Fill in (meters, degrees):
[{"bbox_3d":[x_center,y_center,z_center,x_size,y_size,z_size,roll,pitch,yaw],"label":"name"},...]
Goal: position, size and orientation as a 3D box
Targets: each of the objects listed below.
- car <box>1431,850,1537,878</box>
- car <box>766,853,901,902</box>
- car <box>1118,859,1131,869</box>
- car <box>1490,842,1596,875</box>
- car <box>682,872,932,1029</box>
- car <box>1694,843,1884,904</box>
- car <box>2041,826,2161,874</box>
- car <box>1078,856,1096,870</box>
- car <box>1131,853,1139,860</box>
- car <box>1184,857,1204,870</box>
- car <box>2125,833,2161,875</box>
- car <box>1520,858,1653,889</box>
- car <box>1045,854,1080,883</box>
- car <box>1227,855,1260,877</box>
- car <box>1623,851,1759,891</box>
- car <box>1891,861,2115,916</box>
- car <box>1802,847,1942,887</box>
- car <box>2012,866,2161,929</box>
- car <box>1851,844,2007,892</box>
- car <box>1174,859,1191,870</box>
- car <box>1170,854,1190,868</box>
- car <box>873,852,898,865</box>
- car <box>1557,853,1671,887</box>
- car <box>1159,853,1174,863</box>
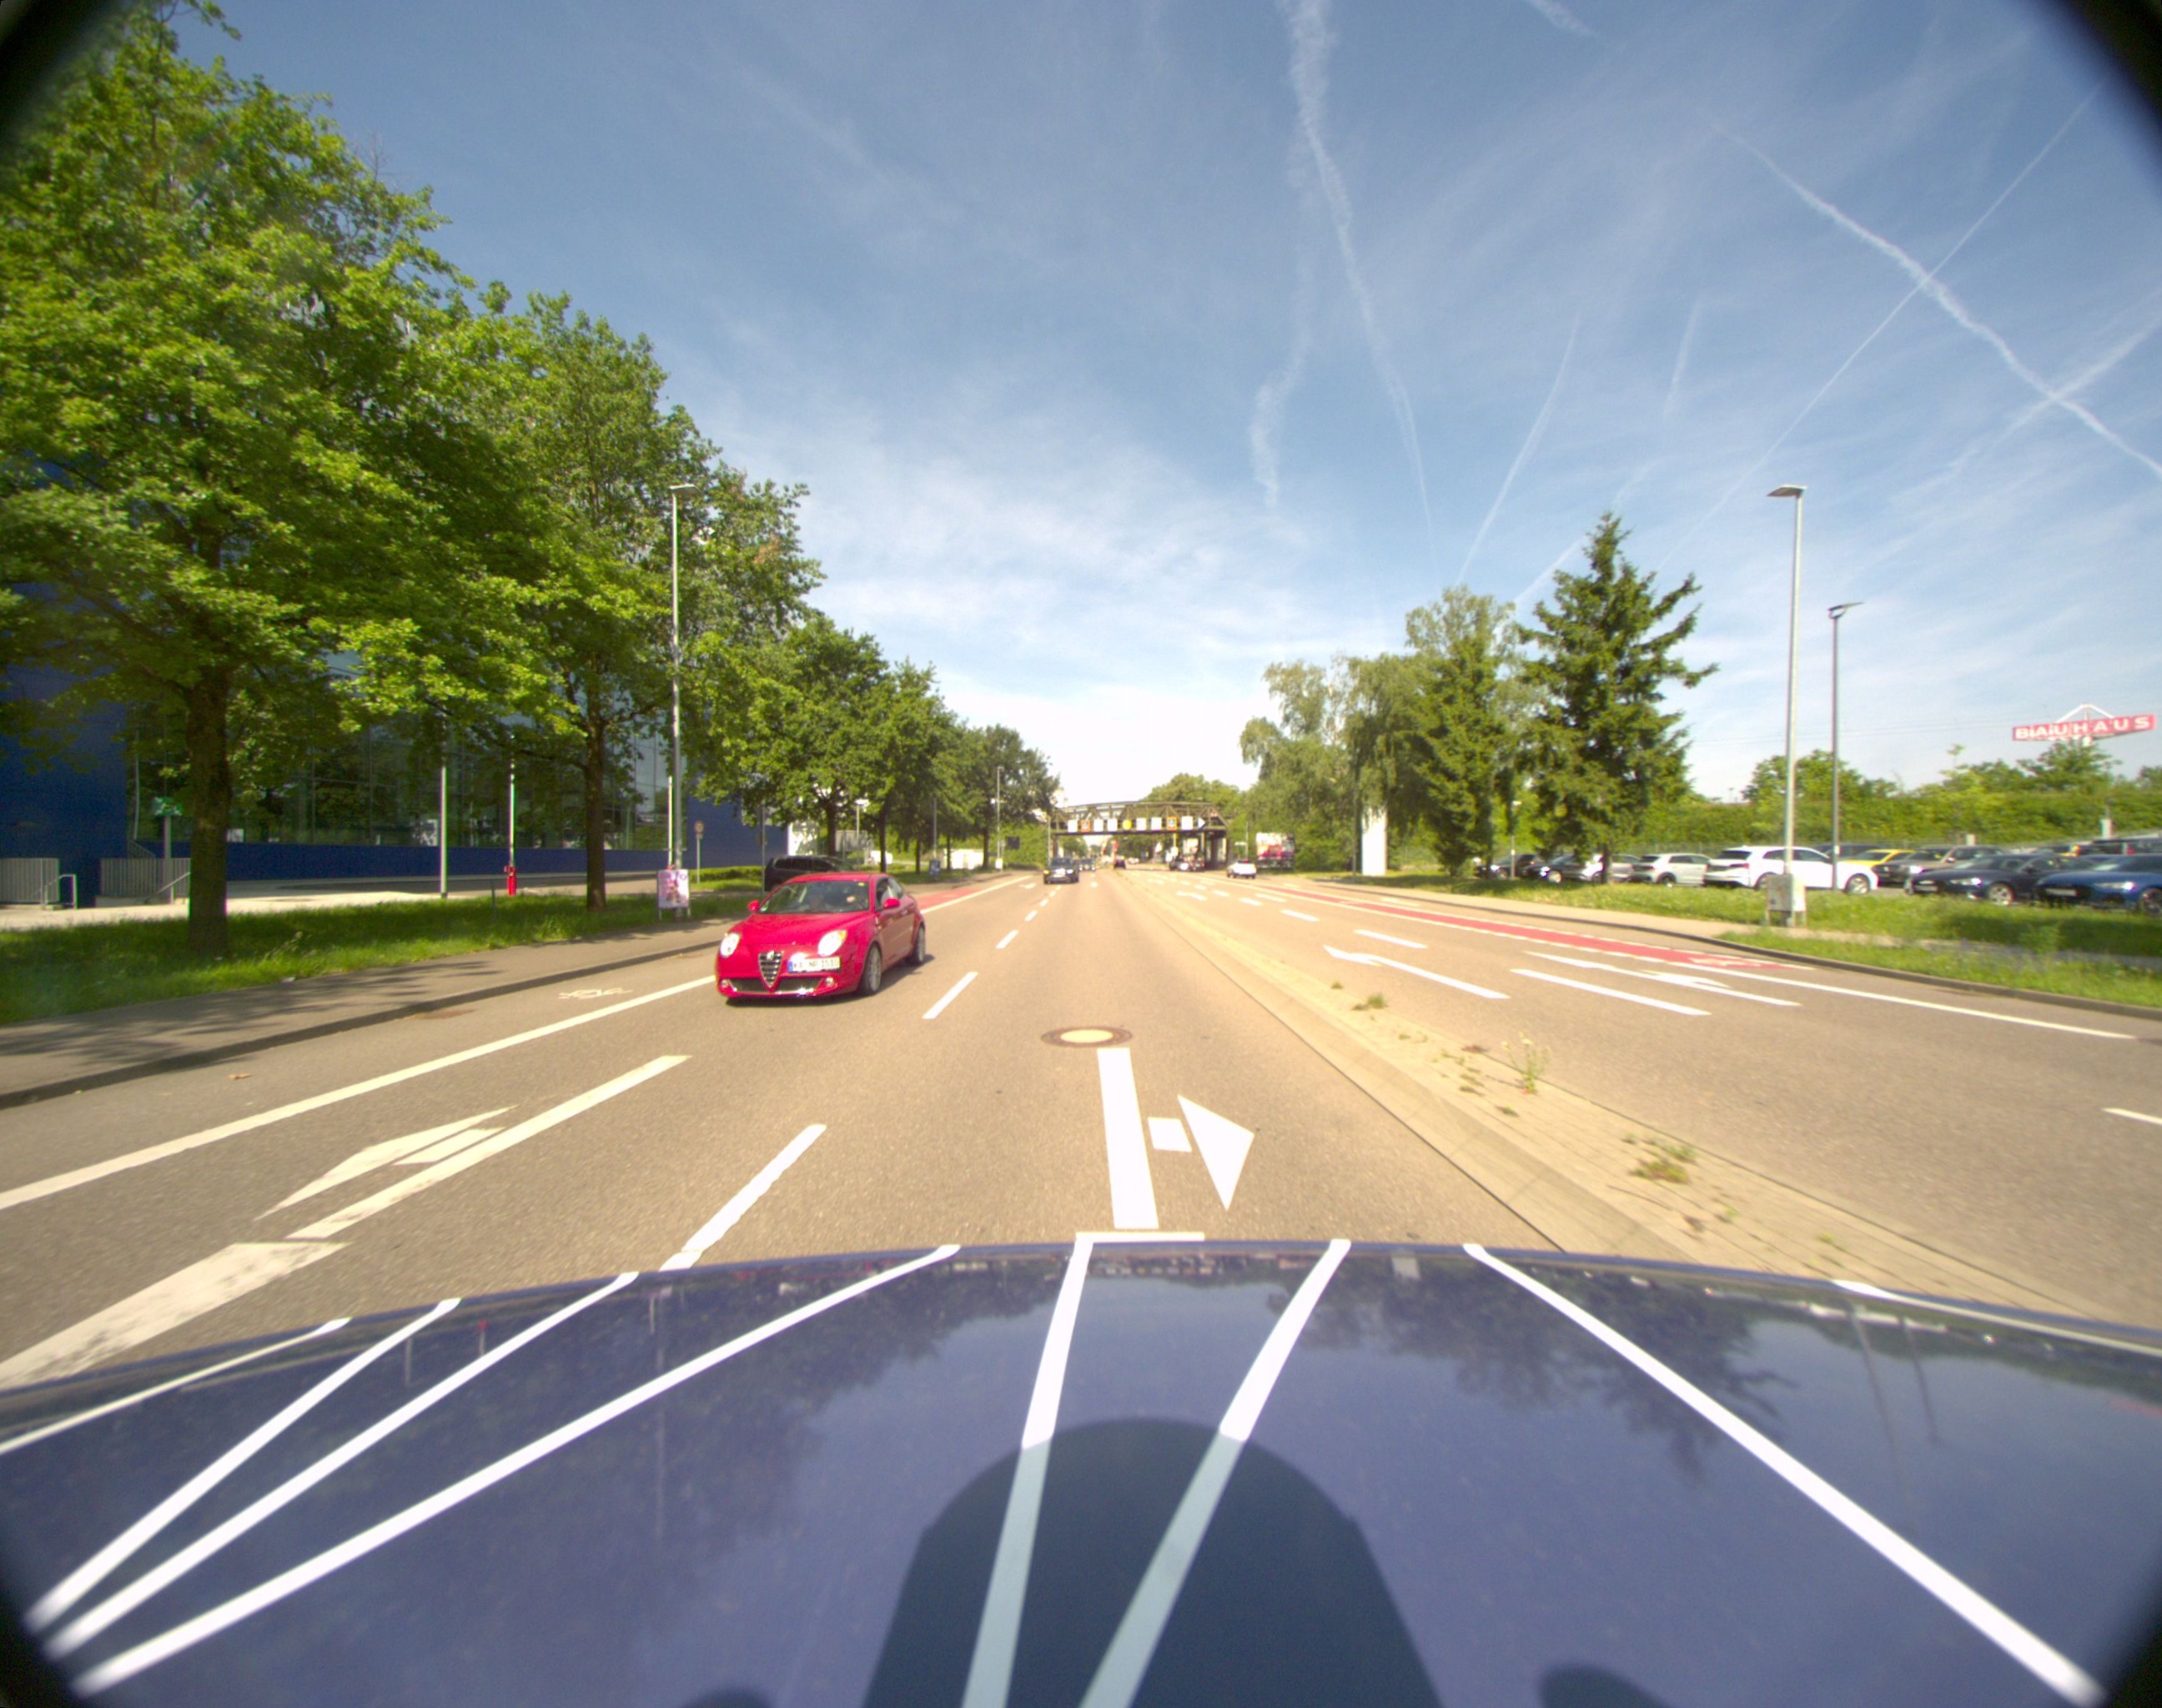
[{"bbox_3d":[21.842,0.544,41.340,4.698,1.381,2.000,-1,0,0],"label":"car"},{"bbox_3d":[-9.265,0.848,28.624,4.452,1.684,1.845,1,1,8],"label":"car"},{"bbox_3d":[6.543,1.446,115.428,1.785,1.438,4.120,1,1,1],"label":"car"},{"bbox_3d":[23.725,0.231,39.102,4.224,1.537,2.000,-1,0,0],"label":"car"},{"bbox_3d":[-3.225,1.048,9.866,1.798,1.446,3.978,-1,1,0],"label":"car"},{"bbox_3d":[23.690,0.645,25.565,4.474,1.864,2.000,-1,0,2],"label":"car"},{"bbox_3d":[39.937,-0.167,29.132,3.999,1.723,1.999,-1,0,-5],"label":"car"},{"bbox_3d":[0.693,0.954,83.720,1.888,1.427,4.000,-1,0,0],"label":"car"},{"bbox_3d":[15.230,0.724,215.466,1.824,1.711,3.636,-1,0,-2],"label":"car"},{"bbox_3d":[13.162,1.087,88.757,1.702,1.510,4.027,2,0,0],"label":"car"},{"bbox_3d":[40.036,-0.057,26.669,4.214,1.468,1.999,-1,0,-3],"label":"car"},{"bbox_3d":[23.550,0.889,35.494,4.863,1.261,2.000,-1,0,0],"label":"car"},{"bbox_3d":[-1.061,0.815,45.011,1.824,1.632,4.112,-1,0,1],"label":"car"},{"bbox_3d":[12.892,0.896,60.357,1.998,1.608,4.105,1,0,5],"label":"car"},{"bbox_3d":[24.857,0.669,31.074,3.996,1.477,1.848,-1,0,4],"label":"car"},{"bbox_3d":[23.992,0.875,19.873,3.801,1.277,1.744,-1,0,-1],"label":"car"},{"bbox_3d":[34.578,0.566,33.311,3.997,1.612,2.000,-1,0,1],"label":"car"},{"bbox_3d":[23.907,0.984,17.183,3.603,1.277,1.744,2,0,-1],"label":"car"},{"bbox_3d":[33.956,0.543,30.520,3.997,1.747,2.000,-1,0,1],"label":"car"},{"bbox_3d":[13.218,1.342,99.193,1.639,1.379,4.318,1,0,1],"label":"car"},{"bbox_3d":[13.893,0.961,106.852,1.998,1.850,5.450,2,0,0],"label":"car"},{"bbox_3d":[-26.169,0.568,101.578,1.860,1.629,4.293,-2,0,-35],"label":"car"},{"bbox_3d":[23.331,0.696,33.349,3.689,1.363,1.816,-1,0,0],"label":"car"},{"bbox_3d":[13.711,0.686,121.505,1.877,1.586,4.387,0,0,0],"label":"car"}]
